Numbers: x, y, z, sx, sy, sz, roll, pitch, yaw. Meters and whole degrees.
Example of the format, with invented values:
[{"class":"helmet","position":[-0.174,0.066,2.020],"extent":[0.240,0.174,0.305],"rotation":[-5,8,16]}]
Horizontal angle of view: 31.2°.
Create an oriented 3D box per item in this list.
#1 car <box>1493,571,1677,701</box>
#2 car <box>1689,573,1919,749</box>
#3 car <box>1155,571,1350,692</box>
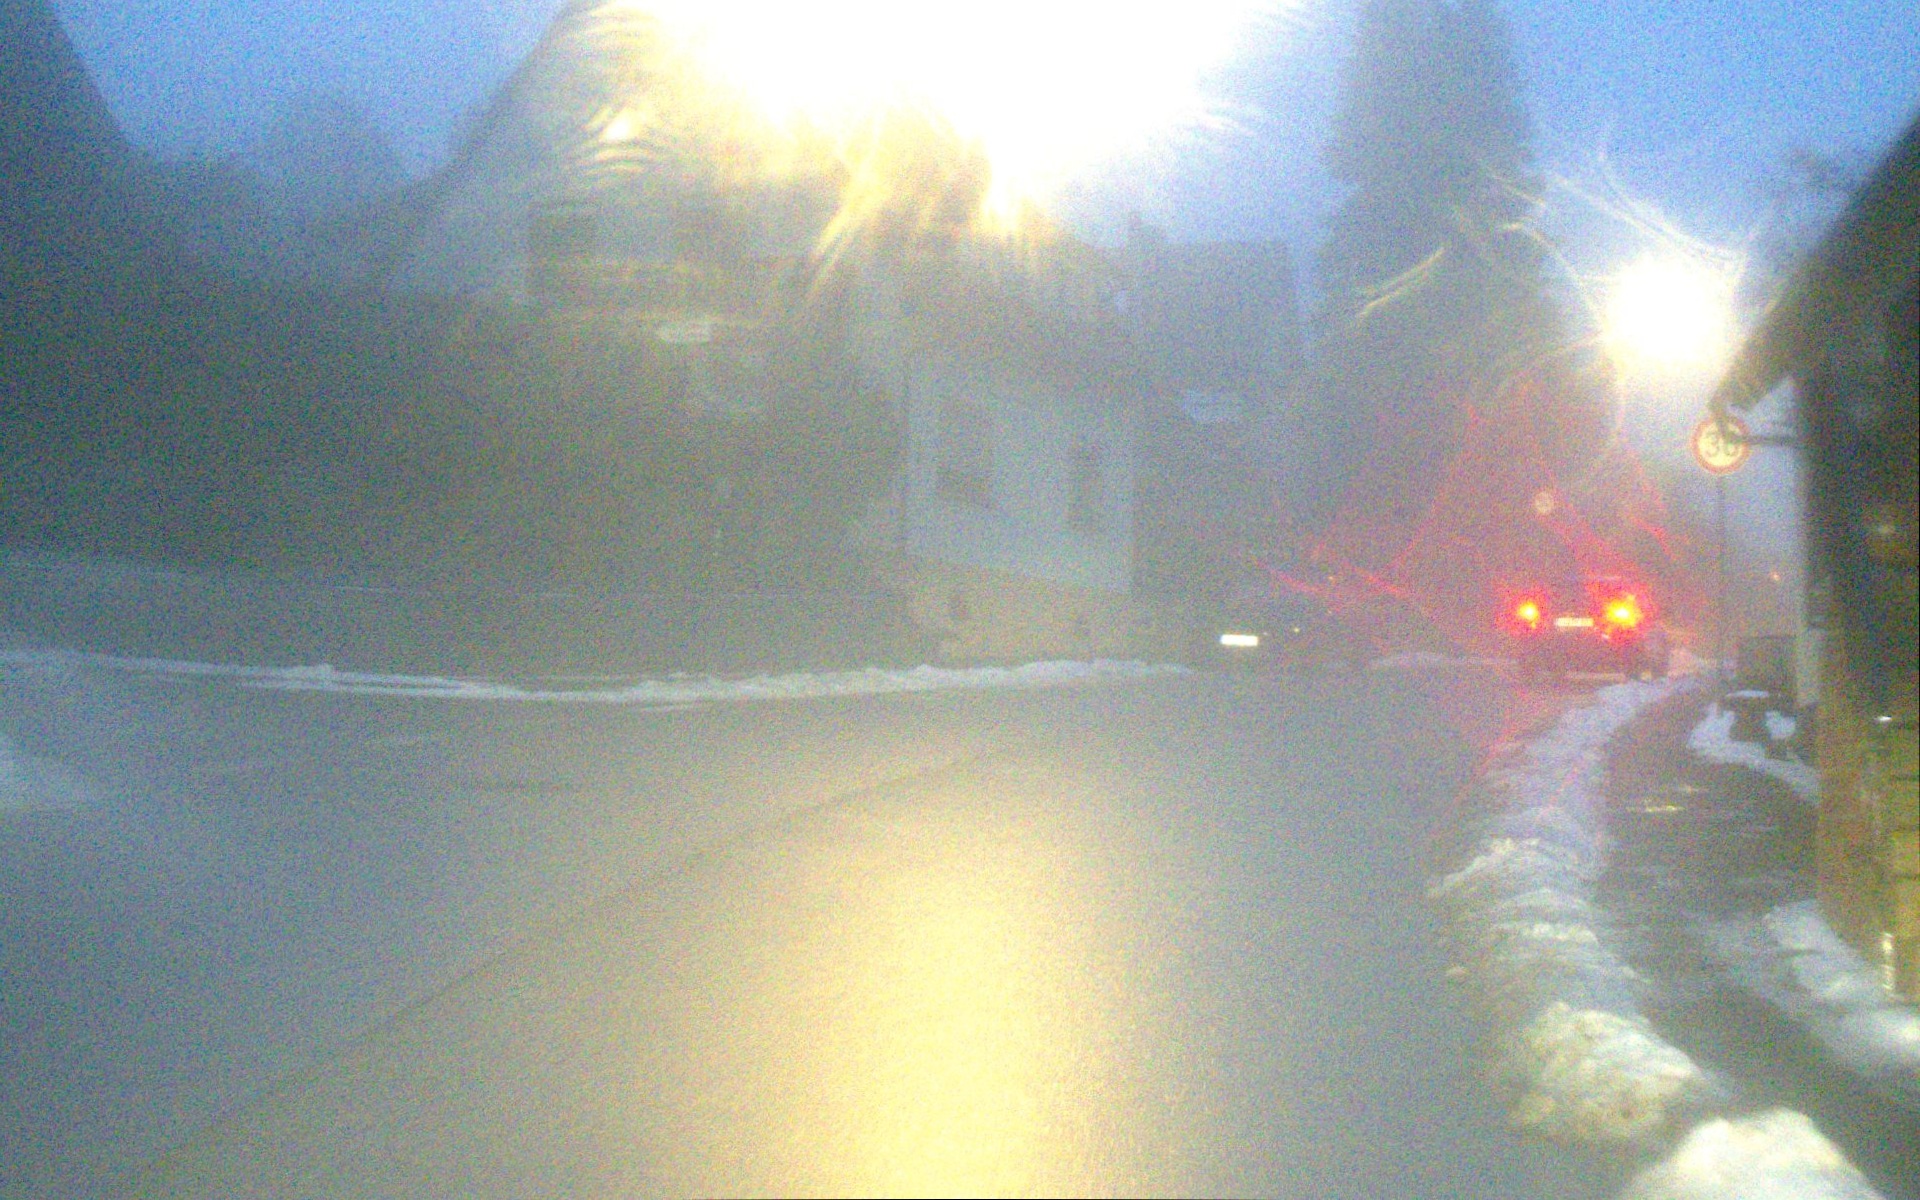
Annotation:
[{"class":"car","position":[8.977,0.552,49.146],"extent":[1.995,1.731,3.874],"rotation":[-2,-2,19]},{"class":"car","position":[7.852,0.504,28.464],"extent":[3.440,1.382,1.638],"rotation":[-2,-2,10]},{"class":"car","position":[4.324,0.500,50.232],"extent":[1.995,1.645,3.996],"rotation":[-2,-2,17]}]
